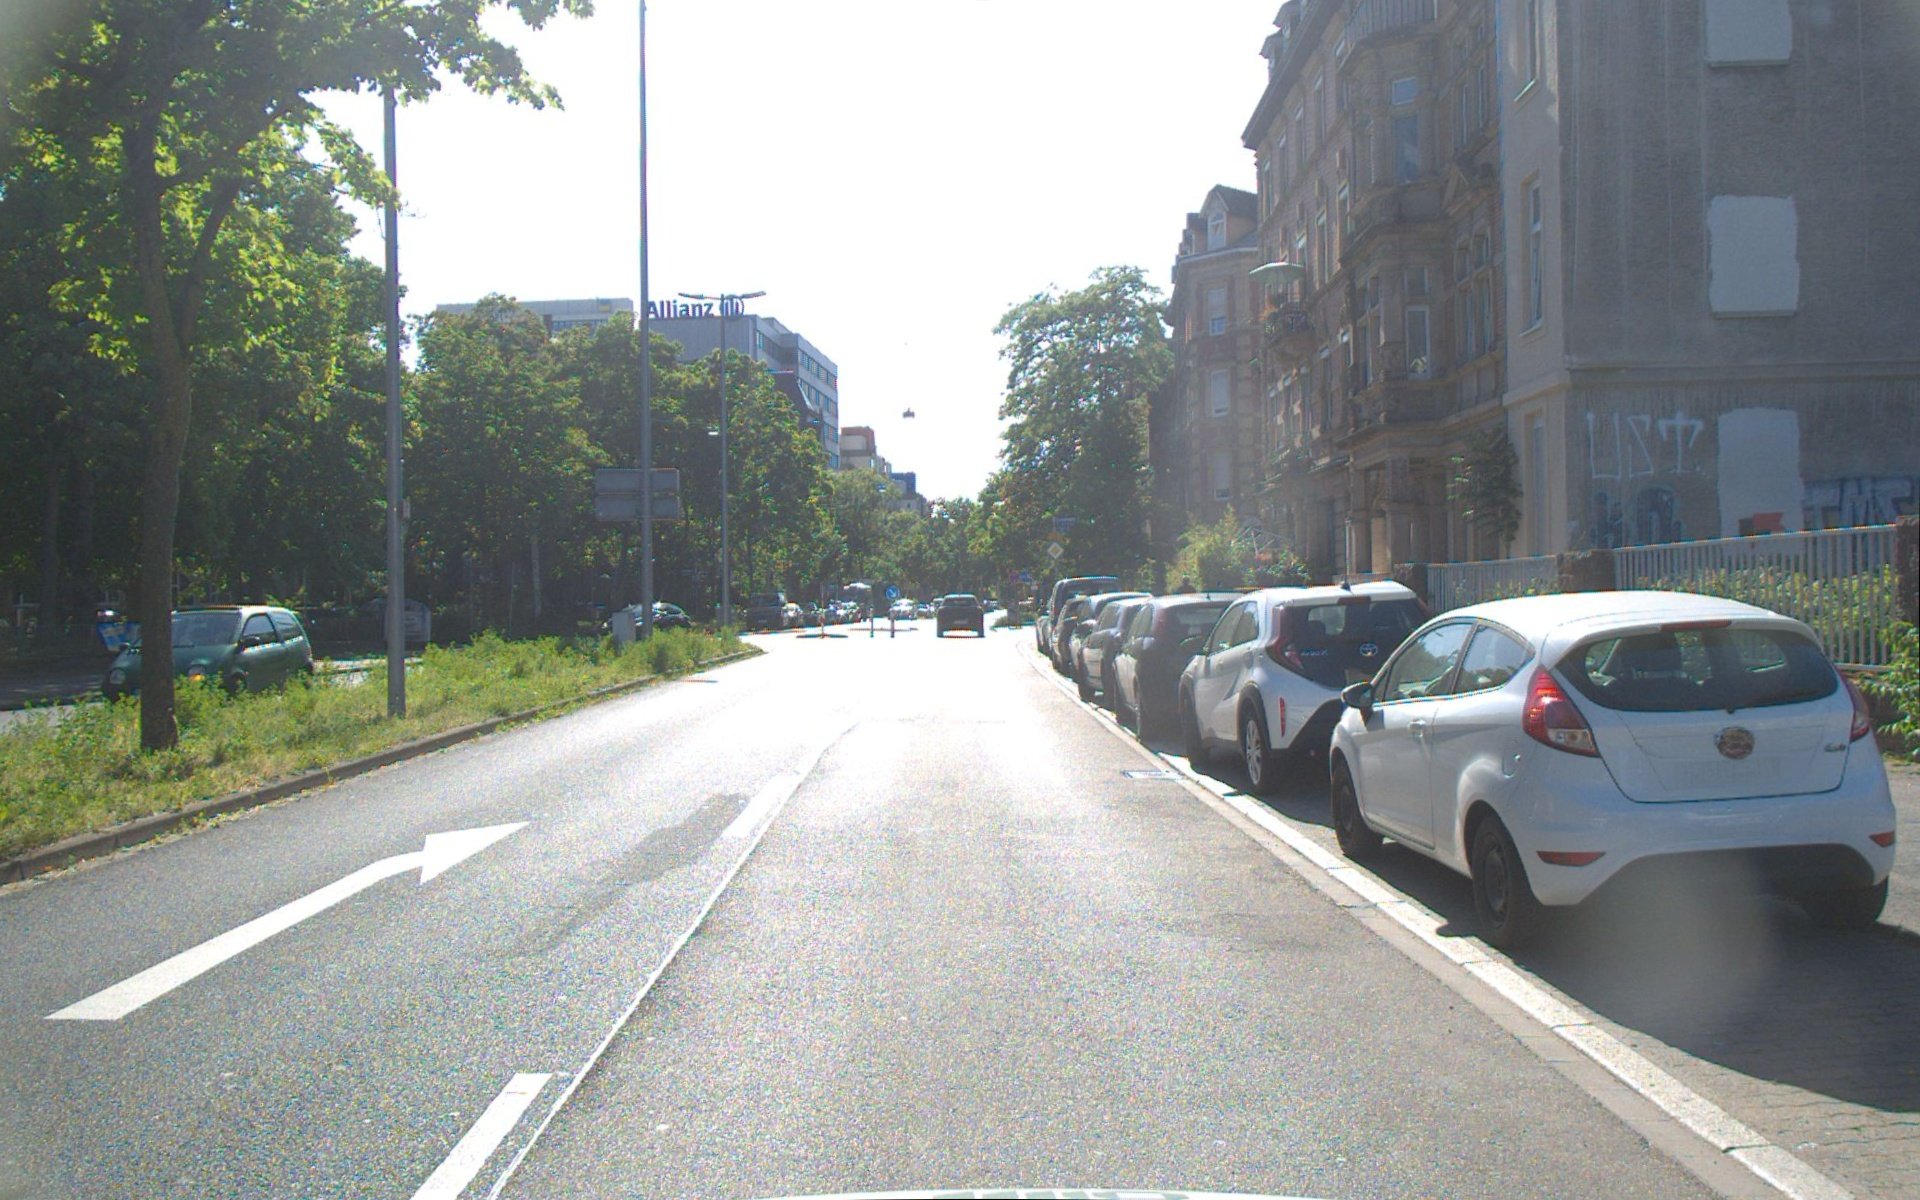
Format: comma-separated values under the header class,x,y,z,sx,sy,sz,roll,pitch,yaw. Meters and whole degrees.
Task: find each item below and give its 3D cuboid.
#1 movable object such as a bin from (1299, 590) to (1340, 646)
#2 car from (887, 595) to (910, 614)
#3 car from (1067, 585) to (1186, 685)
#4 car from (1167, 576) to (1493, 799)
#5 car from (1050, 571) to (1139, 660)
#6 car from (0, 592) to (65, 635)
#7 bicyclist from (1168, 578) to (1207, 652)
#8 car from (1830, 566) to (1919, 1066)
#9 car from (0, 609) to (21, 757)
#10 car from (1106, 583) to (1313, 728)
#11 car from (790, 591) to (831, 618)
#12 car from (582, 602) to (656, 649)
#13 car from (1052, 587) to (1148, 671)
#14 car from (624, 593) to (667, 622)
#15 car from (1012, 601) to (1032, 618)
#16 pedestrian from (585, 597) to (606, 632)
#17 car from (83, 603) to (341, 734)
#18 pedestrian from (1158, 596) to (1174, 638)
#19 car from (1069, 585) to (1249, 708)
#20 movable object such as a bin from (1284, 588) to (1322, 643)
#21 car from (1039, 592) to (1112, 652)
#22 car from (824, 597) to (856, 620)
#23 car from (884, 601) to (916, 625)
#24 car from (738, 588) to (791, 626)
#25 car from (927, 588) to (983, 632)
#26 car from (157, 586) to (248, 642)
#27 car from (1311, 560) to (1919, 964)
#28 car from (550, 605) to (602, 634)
class,x,y,z,sx,sy,sz,roll,pitch,yaw
movable object such as a bin,7.692,0.393,35.440,0.743,1.177,0.608,0,-3,1
car,-5.389,0.404,145.402,1.764,1.530,3.808,-2,0,1
car,2.826,0.562,28.642,1.589,1.496,3.298,5,1,-1
car,2.882,0.610,13.661,1.635,1.545,3.658,-1,0,-4
car,3.012,0.308,37.871,1.781,1.876,4.365,-1,0,2
car,-36.630,0.546,63.974,1.808,1.517,3.999,0,-3,0
bicyclist,5.063,0.326,36.815,0.726,1.607,1.100,0,1,1
car,3.765,0.602,3.327,1.635,1.485,3.982,-4,1,-4
car,-11.054,0.890,15.672,1.758,1.545,4.088,-3,-1,3
car,2.693,0.551,18.616,1.634,1.418,3.774,-1,0,-2
car,-9.220,0.259,102.128,1.721,1.545,3.862,-2,0,7
car,-11.762,0.838,57.267,1.759,1.545,4.422,0,0,-2
car,2.700,0.522,32.572,1.633,1.493,4.275,-1,0,2
car,-19.750,0.477,103.761,1.946,1.691,3.976,-2,0,-20
car,6.651,1.013,176.650,1.880,1.668,4.003,-1,0,5
pedestrian,-17.329,0.700,78.580,0.656,1.655,0.713,-1,0,33
car,-9.903,0.836,22.267,1.605,1.545,4.257,-1,0,-2
pedestrian,9.174,0.764,73.685,0.642,1.848,0.752,0,-3,5
car,2.742,0.588,23.779,1.896,1.545,4.482,-1,0,-2
movable object such as a bin,7.486,0.337,36.130,0.707,1.177,0.608,0,-3,1
car,2.972,0.540,43.266,1.674,1.450,4.206,1,0,1
car,-8.129,0.584,112.336,1.491,1.457,3.340,-2,0,7
car,-4.399,0.950,121.175,1.721,1.545,3.862,-2,1,7
car,-10.746,0.347,91.115,2.153,1.963,4.863,-2,0,2
car,-0.216,0.370,61.789,1.857,1.545,3.997,1,0,-3
car,-34.910,0.687,76.415,1.808,2.365,4.984,0,-3,0
car,3.048,0.621,8.355,1.576,1.471,3.657,-4,1,-2
car,-23.501,1.183,101.038,1.956,1.691,3.957,-1,0,-31
